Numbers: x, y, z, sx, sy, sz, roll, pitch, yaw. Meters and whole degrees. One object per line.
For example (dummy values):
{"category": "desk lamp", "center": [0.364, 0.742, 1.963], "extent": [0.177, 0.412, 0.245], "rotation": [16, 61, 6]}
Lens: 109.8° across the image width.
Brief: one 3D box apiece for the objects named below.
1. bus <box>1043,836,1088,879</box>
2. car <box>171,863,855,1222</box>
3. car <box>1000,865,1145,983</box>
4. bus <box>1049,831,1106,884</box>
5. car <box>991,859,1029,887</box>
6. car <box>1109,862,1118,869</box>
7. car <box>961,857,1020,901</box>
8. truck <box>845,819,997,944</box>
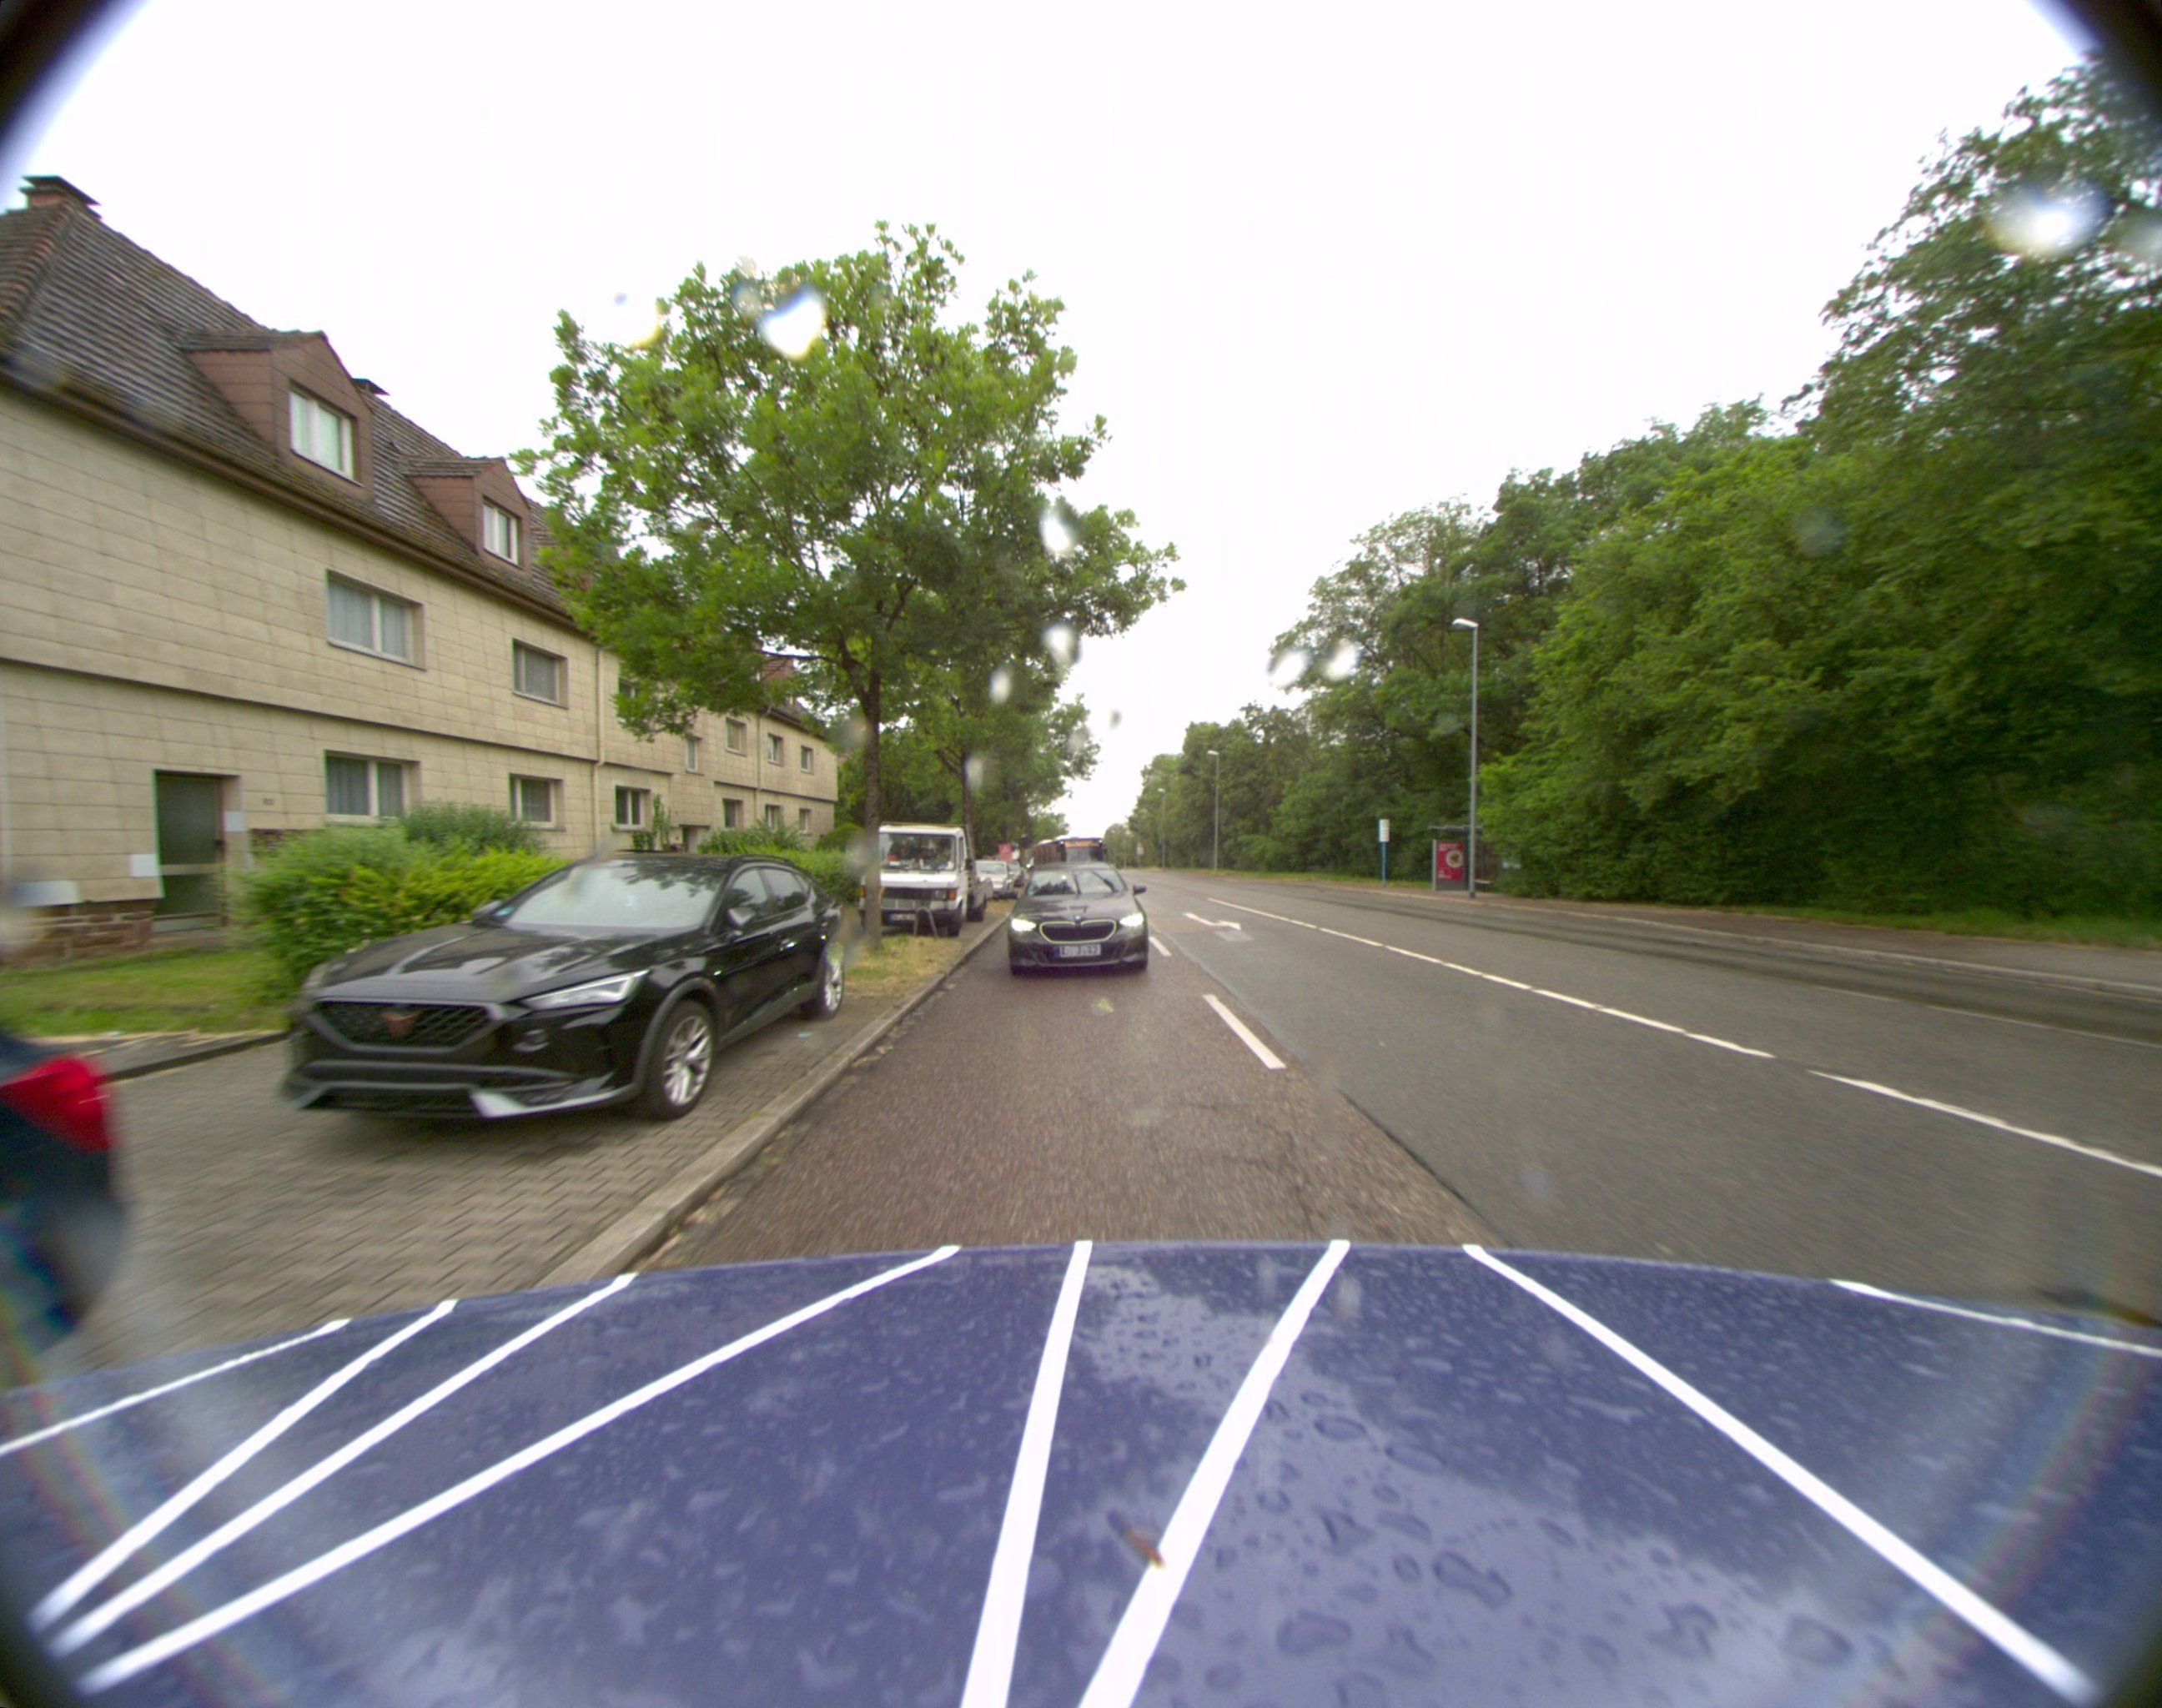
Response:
{"category": "bus", "center": [-1.298, 0.243, 56.429], "extent": [2.563, 2.942, 8.552], "rotation": [-1, 0, -6]}
{"category": "car", "center": [-3.132, 0.857, 5.443], "extent": [1.718, 1.490, 4.183], "rotation": [2, 0, 0]}
{"category": "car", "center": [-0.116, 0.951, 12.185], "extent": [1.855, 1.461, 4.483], "rotation": [-2, 0, 0]}
{"category": "bus", "center": [-0.396, 0.223, 47.513], "extent": [2.564, 2.942, 9.444], "rotation": [-1, 0, -6]}
{"category": "car", "center": [-3.856, 0.997, 41.742], "extent": [1.692, 1.381, 4.499], "rotation": [1, 0, -1]}
{"category": "car", "center": [7.502, 2.695, 175.639], "extent": [1.749, 1.423, 4.388], "rotation": [2, 0, -2]}
{"category": "car", "center": [-3.265, 0.900, 28.015], "extent": [1.605, 1.428, 4.022], "rotation": [2, -1, 0]}
{"category": "truck", "center": [-3.269, 0.511, 17.084], "extent": [2.085, 2.208, 6.500], "rotation": [2, 0, -1]}
